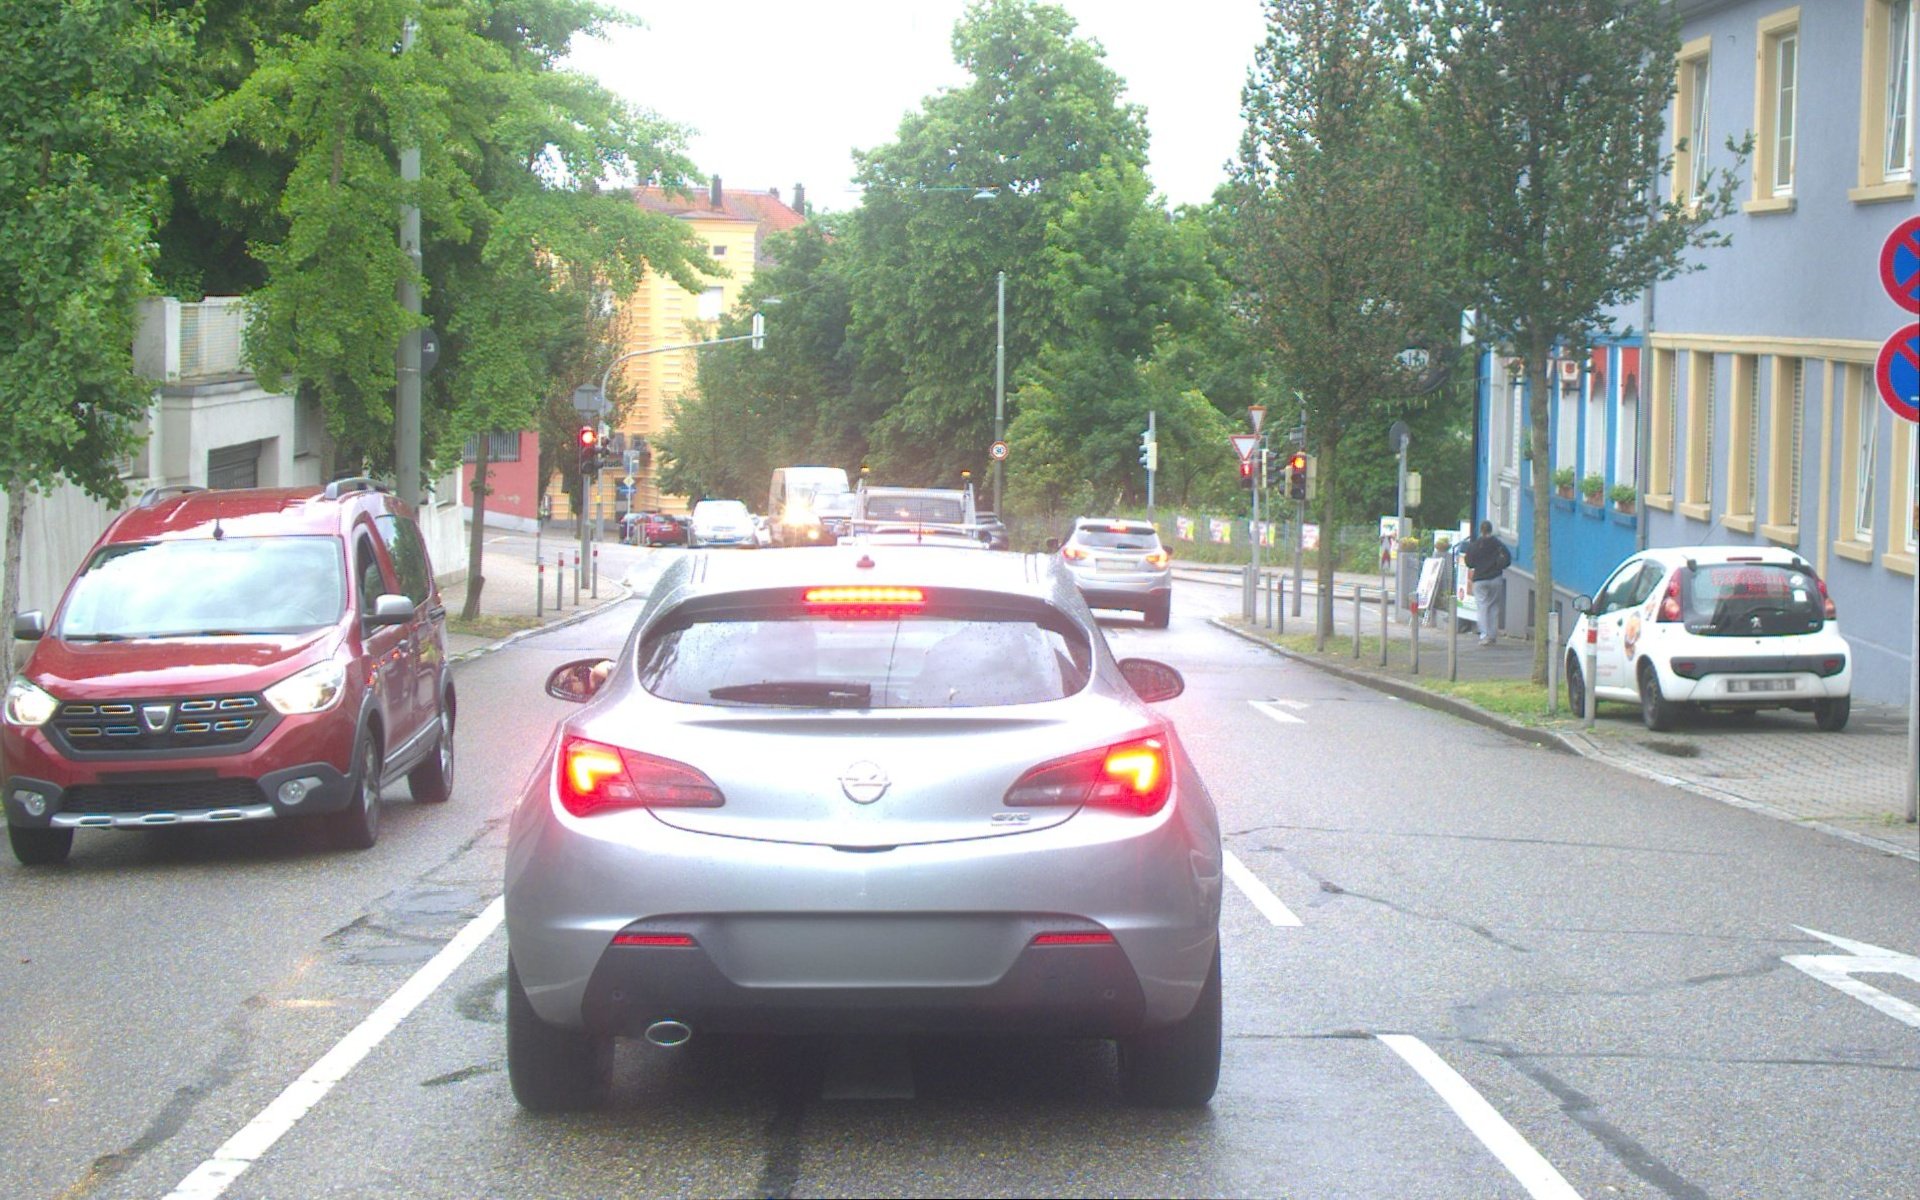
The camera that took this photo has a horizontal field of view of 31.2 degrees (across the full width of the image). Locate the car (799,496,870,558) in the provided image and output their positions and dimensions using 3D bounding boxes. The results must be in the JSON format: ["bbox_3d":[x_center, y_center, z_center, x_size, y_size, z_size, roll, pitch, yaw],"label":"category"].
[{"bbox_3d":[-3.377,-1.976,92.615,1.870,1.632,3.880,0,1,-2],"label":"car"}]

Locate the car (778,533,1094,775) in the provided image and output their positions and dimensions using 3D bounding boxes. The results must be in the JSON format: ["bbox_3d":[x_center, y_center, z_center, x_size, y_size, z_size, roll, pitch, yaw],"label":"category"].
[{"bbox_3d":[-0.215,0.302,24.077,1.962,1.443,4.306,2,1,-2],"label":"car"}]

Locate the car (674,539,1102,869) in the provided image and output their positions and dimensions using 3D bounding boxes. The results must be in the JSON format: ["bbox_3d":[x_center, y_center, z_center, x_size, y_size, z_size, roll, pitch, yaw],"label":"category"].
[{"bbox_3d":[-0.403,0.454,18.356,1.962,1.443,4.306,2,1,-2],"label":"car"}]

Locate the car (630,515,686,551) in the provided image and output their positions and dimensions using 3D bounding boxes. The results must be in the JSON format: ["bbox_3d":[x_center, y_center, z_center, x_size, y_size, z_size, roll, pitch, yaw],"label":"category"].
[{"bbox_3d":[-13.898,-3.075,158.113,1.722,1.632,3.881,0,1,-18],"label":"car"}]

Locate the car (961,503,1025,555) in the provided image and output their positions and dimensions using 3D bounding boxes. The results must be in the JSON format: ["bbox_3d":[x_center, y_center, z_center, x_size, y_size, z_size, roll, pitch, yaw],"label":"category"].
[{"bbox_3d":[1.021,-2.249,108.907,1.722,1.632,3.880,0,1,-4],"label":"car"}]

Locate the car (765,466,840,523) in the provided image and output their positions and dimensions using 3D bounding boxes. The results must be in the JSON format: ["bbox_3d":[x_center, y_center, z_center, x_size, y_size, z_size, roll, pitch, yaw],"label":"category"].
[{"bbox_3d":[-4.611,-3.063,100.235,1.722,1.632,3.881,0,1,-9],"label":"car"}]

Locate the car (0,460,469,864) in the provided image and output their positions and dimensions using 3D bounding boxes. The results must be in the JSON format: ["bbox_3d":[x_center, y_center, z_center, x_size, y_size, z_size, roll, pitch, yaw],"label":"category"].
[{"bbox_3d":[-3.738,0.253,17.895,1.746,1.822,4.459,-1,1,-1],"label":"car"}]

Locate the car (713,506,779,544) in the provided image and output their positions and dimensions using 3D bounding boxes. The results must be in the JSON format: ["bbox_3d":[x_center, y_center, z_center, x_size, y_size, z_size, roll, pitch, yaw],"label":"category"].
[{"bbox_3d":[-8.693,-3.037,139.343,1.722,1.538,3.881,0,1,-18],"label":"car"}]

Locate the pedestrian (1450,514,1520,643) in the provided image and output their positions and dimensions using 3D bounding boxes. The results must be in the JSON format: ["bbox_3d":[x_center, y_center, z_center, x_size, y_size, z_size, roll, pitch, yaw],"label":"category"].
[{"bbox_3d":[7.186,-0.298,47.100,0.783,1.723,0.651,2,1,0],"label":"pedestrian"}]

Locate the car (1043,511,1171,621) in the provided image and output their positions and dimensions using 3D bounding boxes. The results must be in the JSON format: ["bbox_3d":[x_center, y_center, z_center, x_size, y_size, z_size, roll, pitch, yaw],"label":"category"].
[{"bbox_3d":[2.325,-0.568,55.141,1.722,1.708,3.880,0,1,-2],"label":"car"}]

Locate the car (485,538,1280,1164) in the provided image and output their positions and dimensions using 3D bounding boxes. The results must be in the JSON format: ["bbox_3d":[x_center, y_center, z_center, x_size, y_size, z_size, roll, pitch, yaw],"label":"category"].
[{"bbox_3d":[-0.260,0.557,9.982,1.837,1.429,3.880,1,1,-2],"label":"car"}]

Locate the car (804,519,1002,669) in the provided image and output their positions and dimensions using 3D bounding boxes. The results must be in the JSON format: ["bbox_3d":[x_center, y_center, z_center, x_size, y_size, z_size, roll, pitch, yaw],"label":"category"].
[{"bbox_3d":[-0.642,-0.113,37.114,1.962,1.443,4.306,2,1,-2],"label":"car"}]

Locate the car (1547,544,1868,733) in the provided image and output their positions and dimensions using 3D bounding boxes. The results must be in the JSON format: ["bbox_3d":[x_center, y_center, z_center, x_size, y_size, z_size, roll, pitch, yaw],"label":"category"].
[{"bbox_3d":[6.155,0.269,28.715,1.722,1.443,3.880,0,1,-2],"label":"car"}]

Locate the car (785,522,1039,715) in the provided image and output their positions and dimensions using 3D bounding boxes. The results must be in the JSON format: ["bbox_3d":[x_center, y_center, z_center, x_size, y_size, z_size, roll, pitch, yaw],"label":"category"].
[{"bbox_3d":[-0.446,0.103,29.455,1.962,1.443,4.306,2,1,-2],"label":"car"}]

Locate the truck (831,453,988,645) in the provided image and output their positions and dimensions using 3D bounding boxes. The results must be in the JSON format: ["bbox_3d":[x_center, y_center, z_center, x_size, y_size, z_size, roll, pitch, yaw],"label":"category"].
[{"bbox_3d":[-0.730,-0.726,47.106,1.962,2.420,4.936,2,1,-2],"label":"truck"}]

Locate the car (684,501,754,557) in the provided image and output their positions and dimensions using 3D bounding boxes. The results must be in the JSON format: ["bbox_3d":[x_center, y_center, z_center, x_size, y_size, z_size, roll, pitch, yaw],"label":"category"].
[{"bbox_3d":[-6.473,-1.919,92.683,1.722,1.455,3.880,0,1,-2],"label":"car"}]
